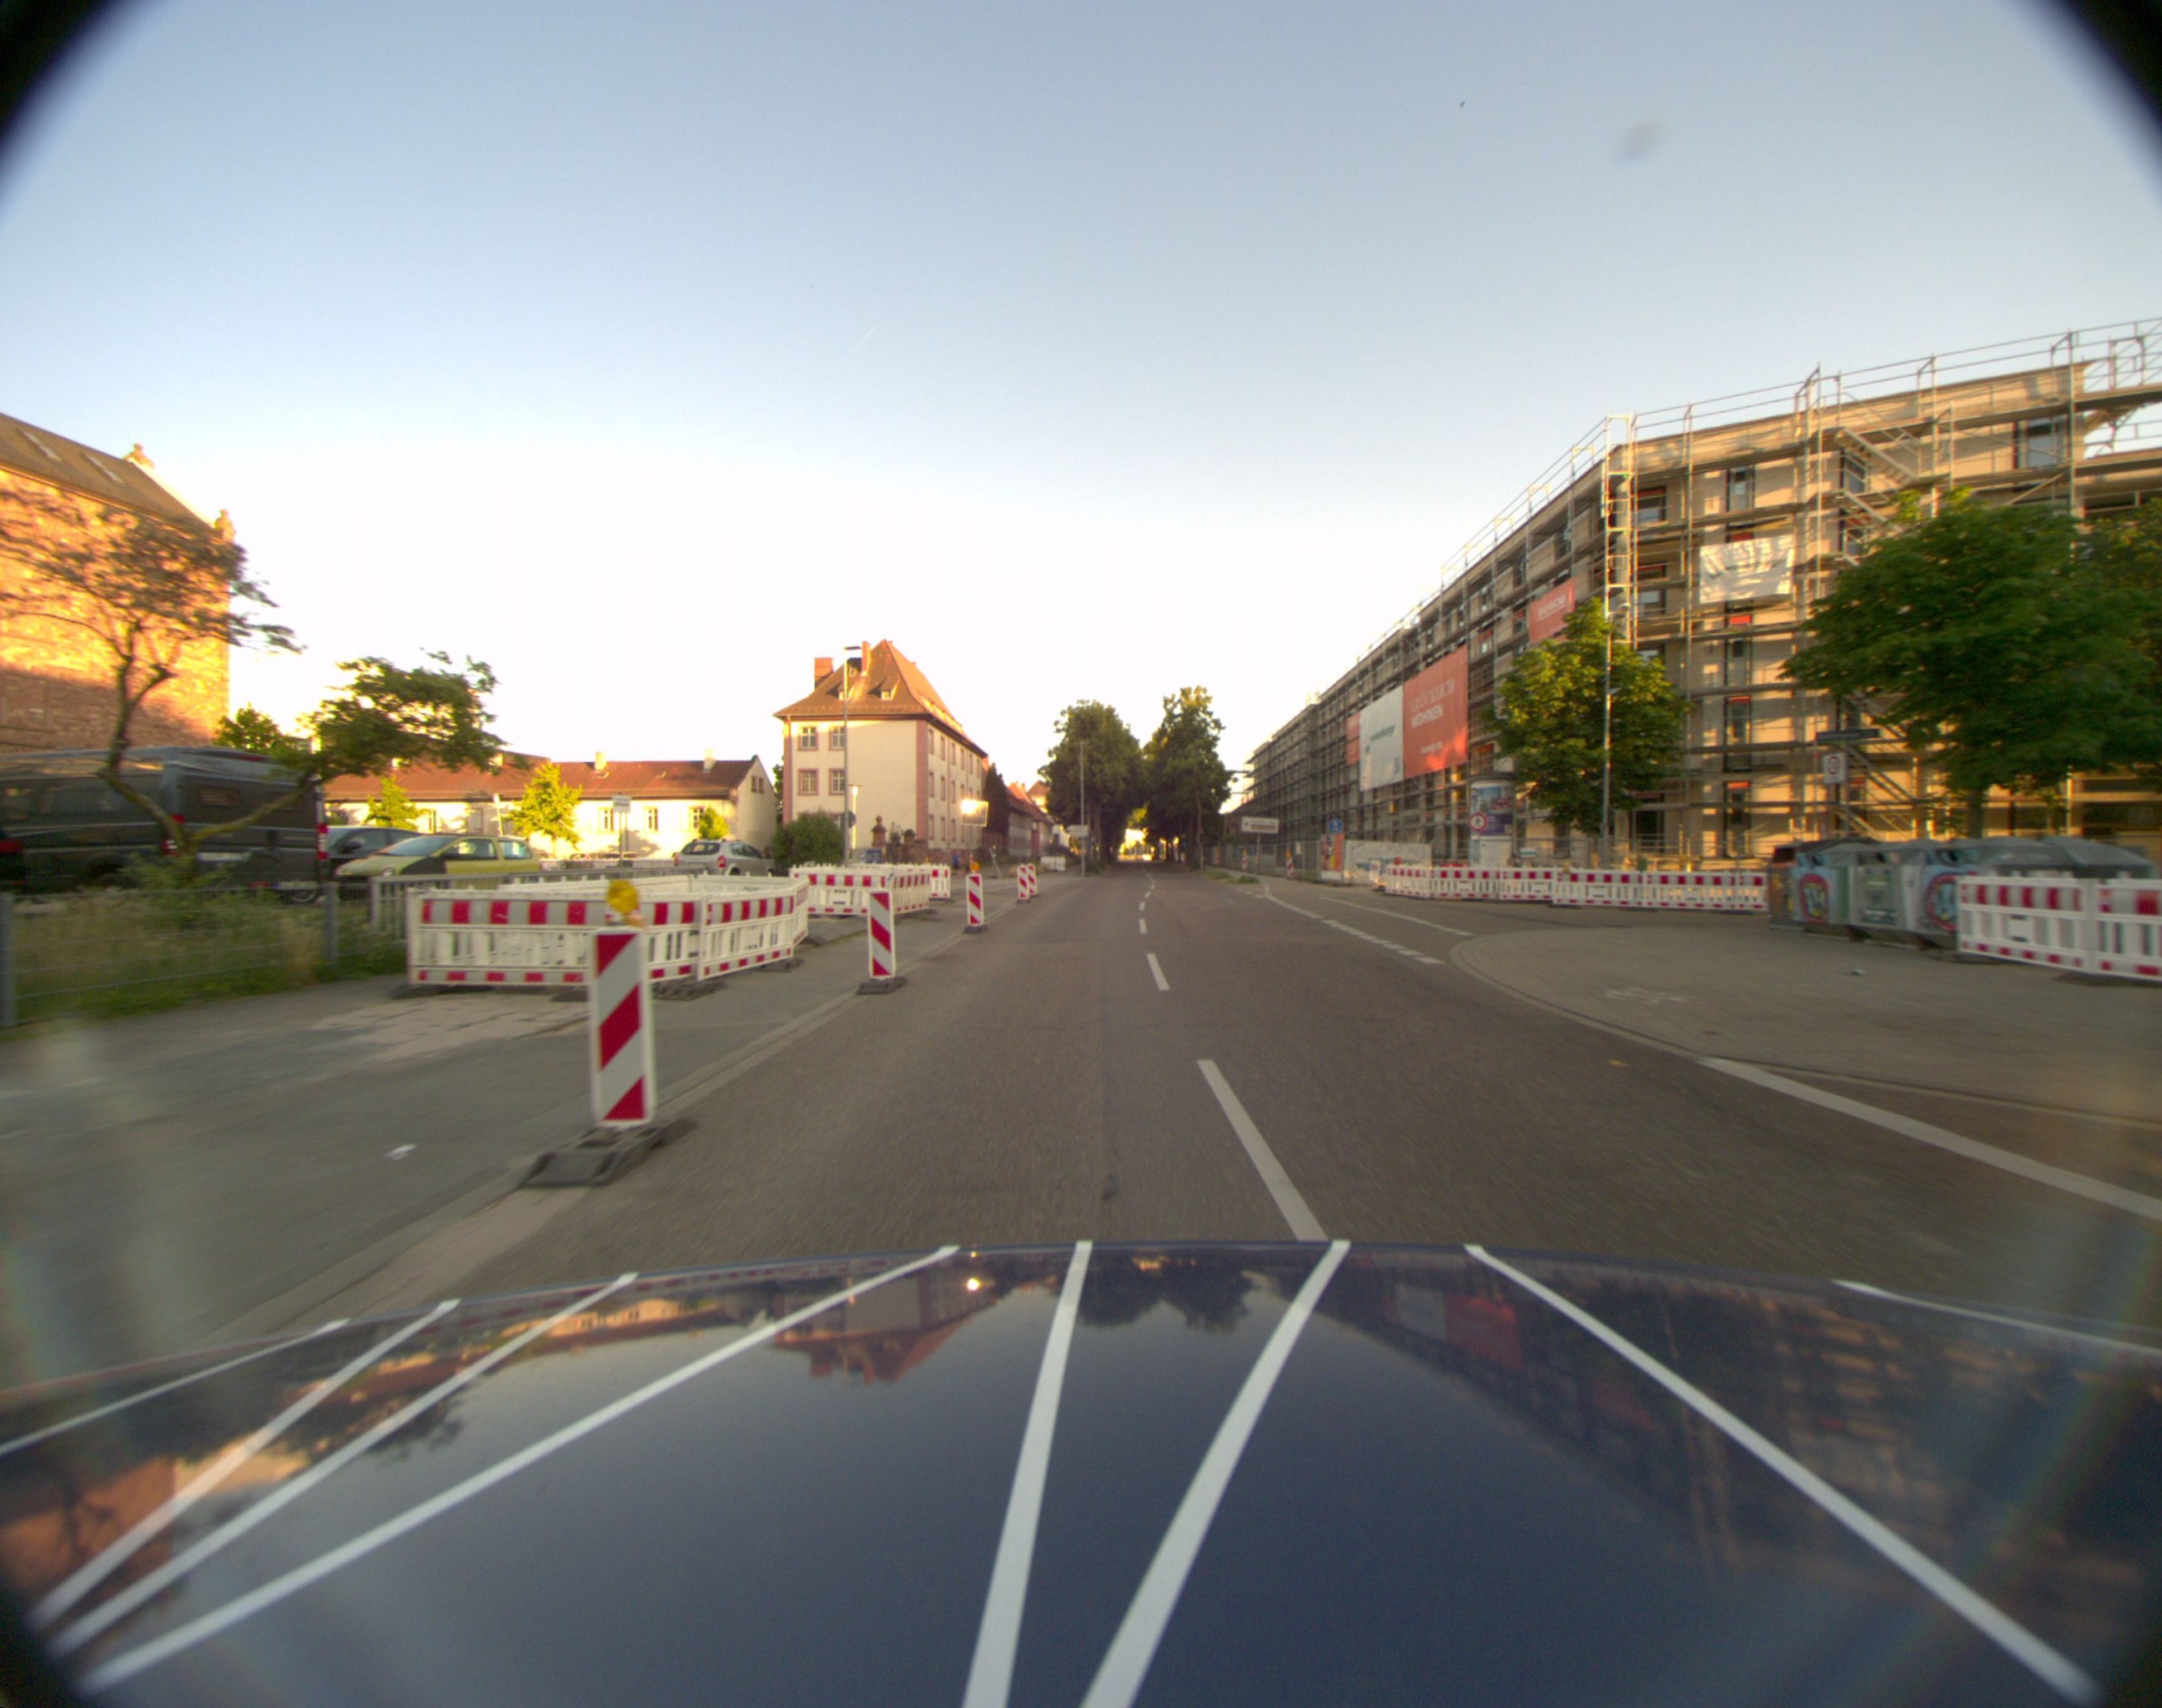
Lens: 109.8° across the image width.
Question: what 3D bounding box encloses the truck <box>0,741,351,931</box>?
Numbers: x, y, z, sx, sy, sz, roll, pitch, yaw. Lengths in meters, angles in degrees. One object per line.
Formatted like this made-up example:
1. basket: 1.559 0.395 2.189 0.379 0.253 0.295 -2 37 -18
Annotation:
1. truck: -14.801 -0.266 11.764 4.967 2.601 2.342 0 1 5

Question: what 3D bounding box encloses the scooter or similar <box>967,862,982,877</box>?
1. scooter or similar: -6.120 0.884 43.673 0.805 0.885 0.515 0 1 5

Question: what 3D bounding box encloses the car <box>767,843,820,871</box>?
1. car: -19.538 0.197 51.878 1.998 1.848 4.000 0 0 1

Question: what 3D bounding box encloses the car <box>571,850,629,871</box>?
1. car: -34.208 0.465 54.153 1.685 1.437 3.753 0 0 1

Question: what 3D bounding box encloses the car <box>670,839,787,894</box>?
1. car: -11.689 0.371 25.549 1.701 1.699 4.284 0 1 4

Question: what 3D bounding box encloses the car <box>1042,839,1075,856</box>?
1. car: -2.719 -0.827 92.323 3.997 2.002 2.000 0 1 0

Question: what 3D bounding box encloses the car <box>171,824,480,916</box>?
1. car: -15.335 0.261 15.878 1.573 1.628 4.600 0 1 6

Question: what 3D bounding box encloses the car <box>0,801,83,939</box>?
1. car: -15.182 0.180 9.084 3.996 1.682 2.000 0 0 2

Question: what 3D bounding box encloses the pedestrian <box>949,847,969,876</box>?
1. pedestrian: -7.024 0.423 43.807 1.013 1.633 0.752 0 1 5

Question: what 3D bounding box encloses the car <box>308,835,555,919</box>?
1. car: -12.897 0.394 15.414 1.635 1.495 3.645 0 1 6
